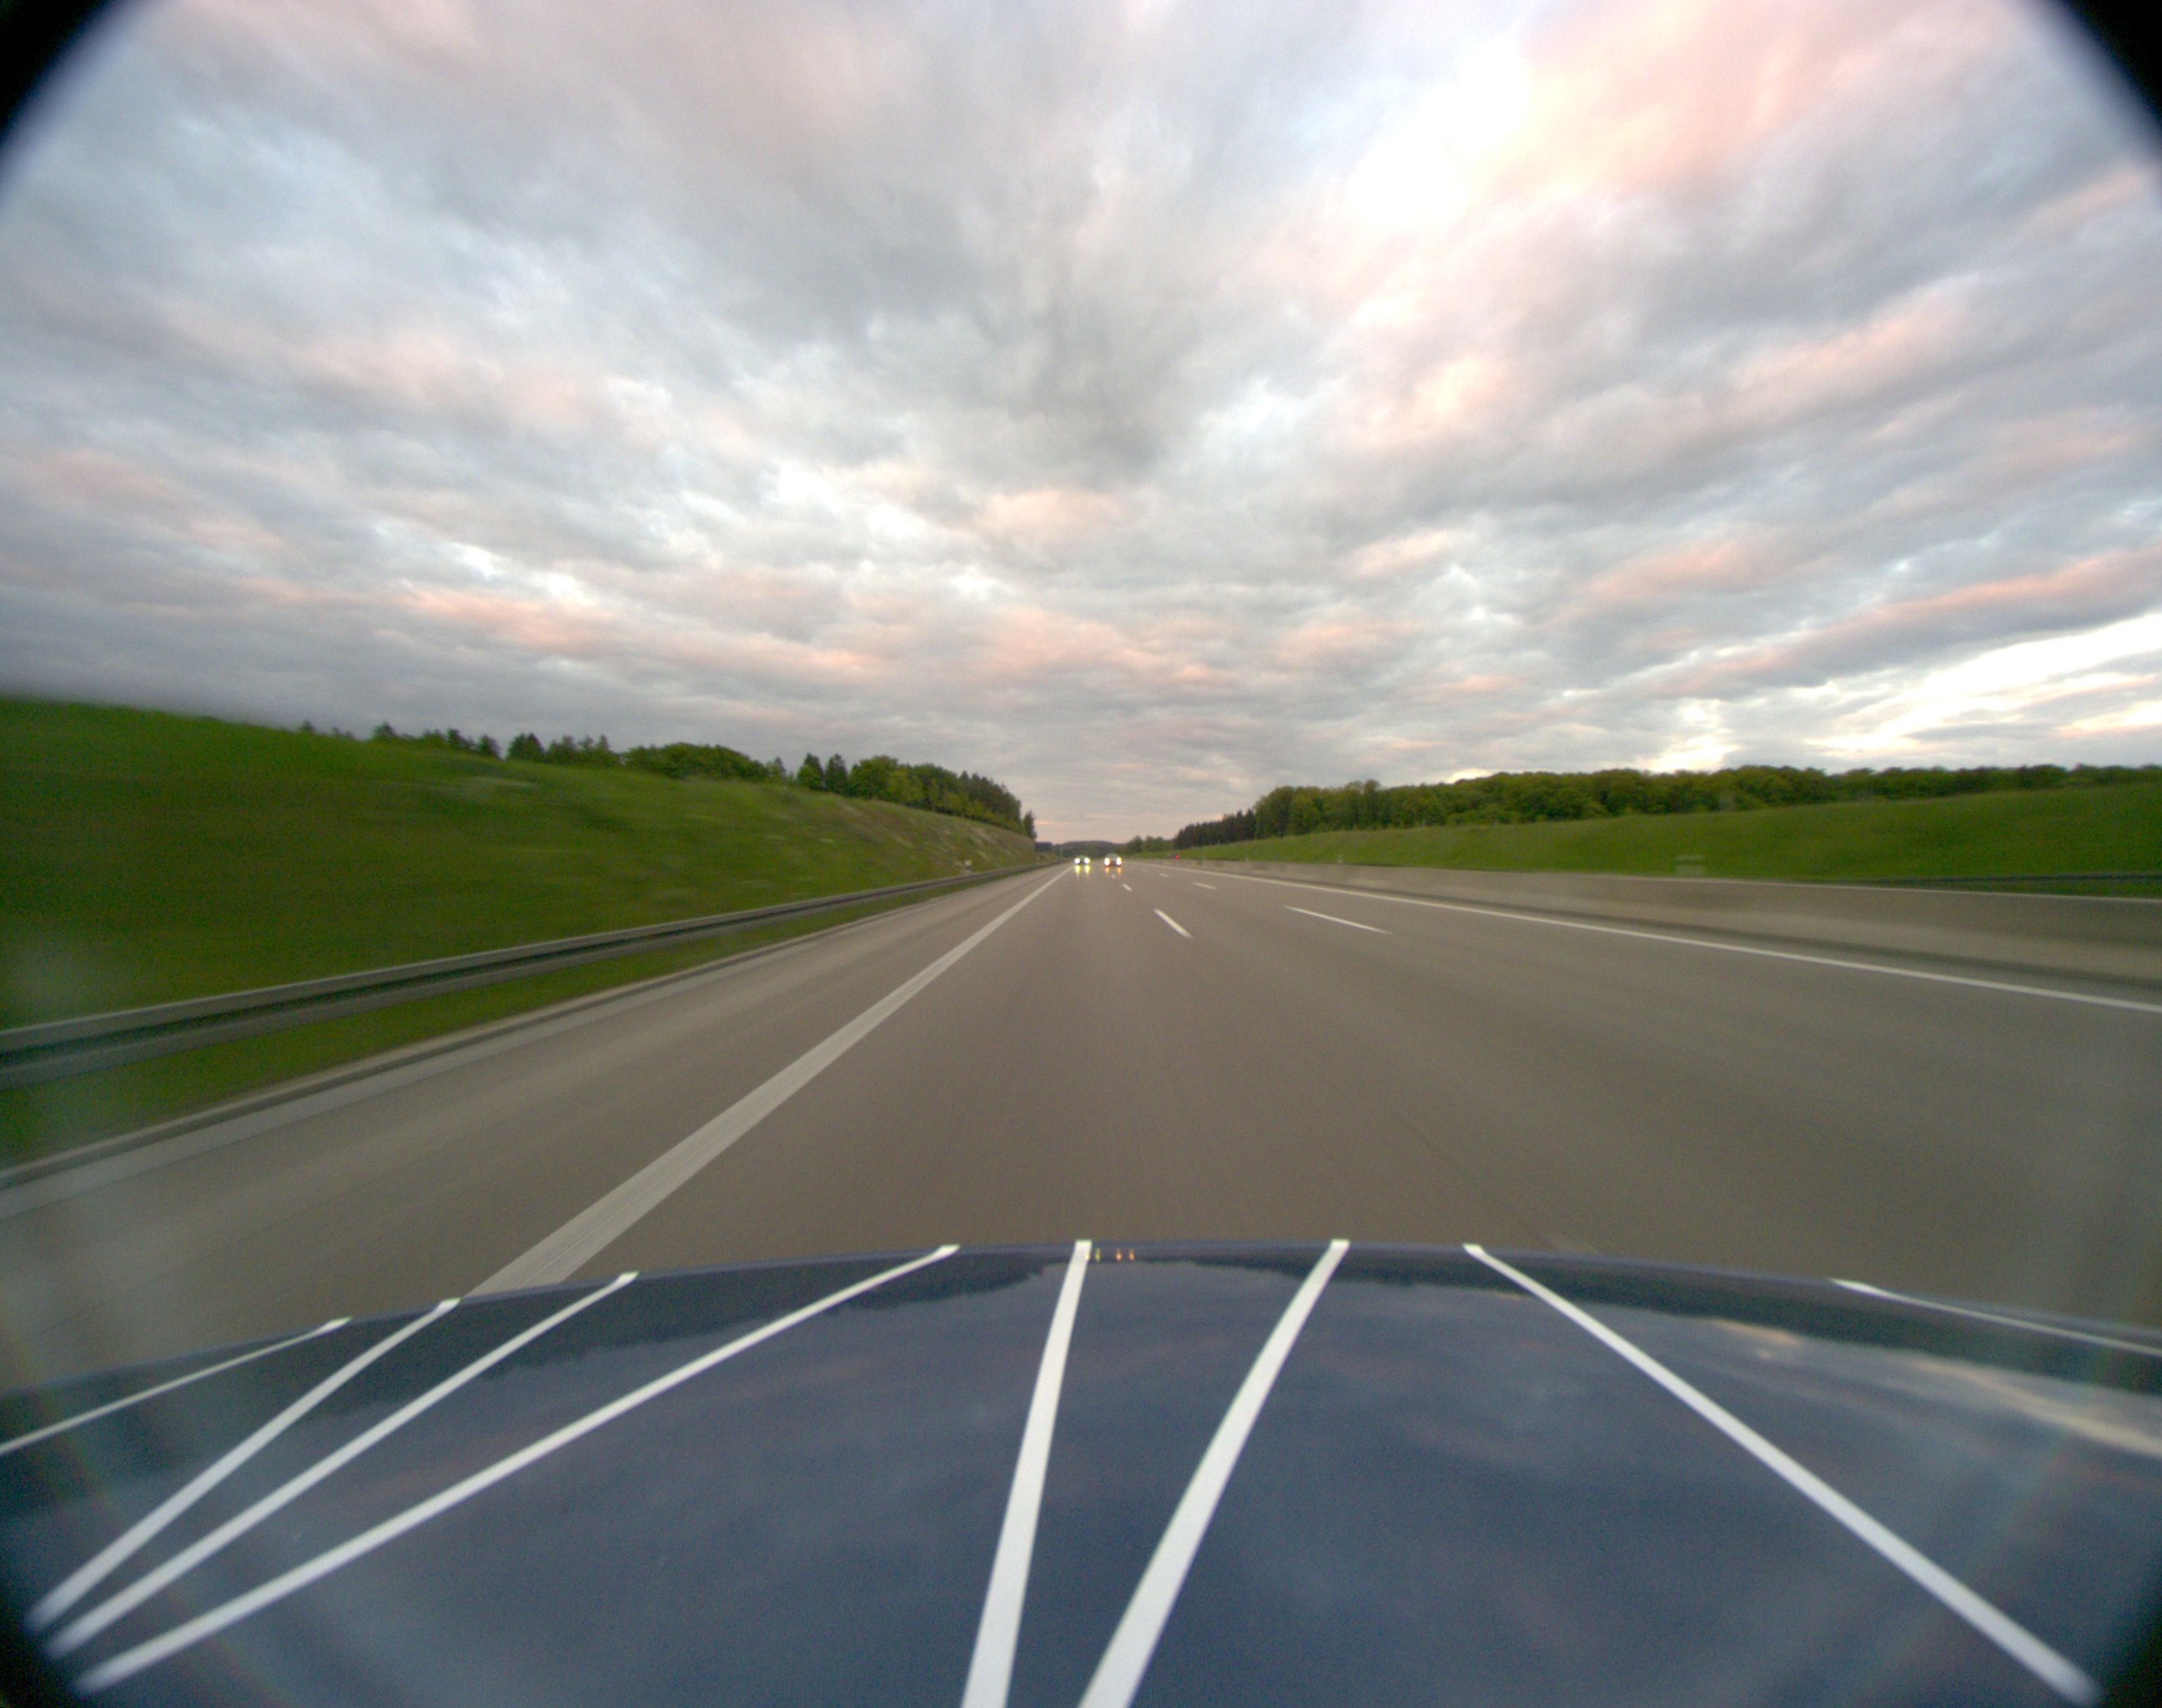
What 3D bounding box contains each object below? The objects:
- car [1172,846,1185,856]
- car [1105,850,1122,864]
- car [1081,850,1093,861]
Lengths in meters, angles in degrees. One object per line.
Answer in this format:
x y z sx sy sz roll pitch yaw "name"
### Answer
20.560 -0.637 160.429 1.999 2.002 3.999 -1 0 -2 "car"
4.086 0.331 96.223 1.857 1.683 5.510 -1 1 0 "car"
0.940 0.235 121.489 1.801 1.674 4.384 -1 2 0 "car"
